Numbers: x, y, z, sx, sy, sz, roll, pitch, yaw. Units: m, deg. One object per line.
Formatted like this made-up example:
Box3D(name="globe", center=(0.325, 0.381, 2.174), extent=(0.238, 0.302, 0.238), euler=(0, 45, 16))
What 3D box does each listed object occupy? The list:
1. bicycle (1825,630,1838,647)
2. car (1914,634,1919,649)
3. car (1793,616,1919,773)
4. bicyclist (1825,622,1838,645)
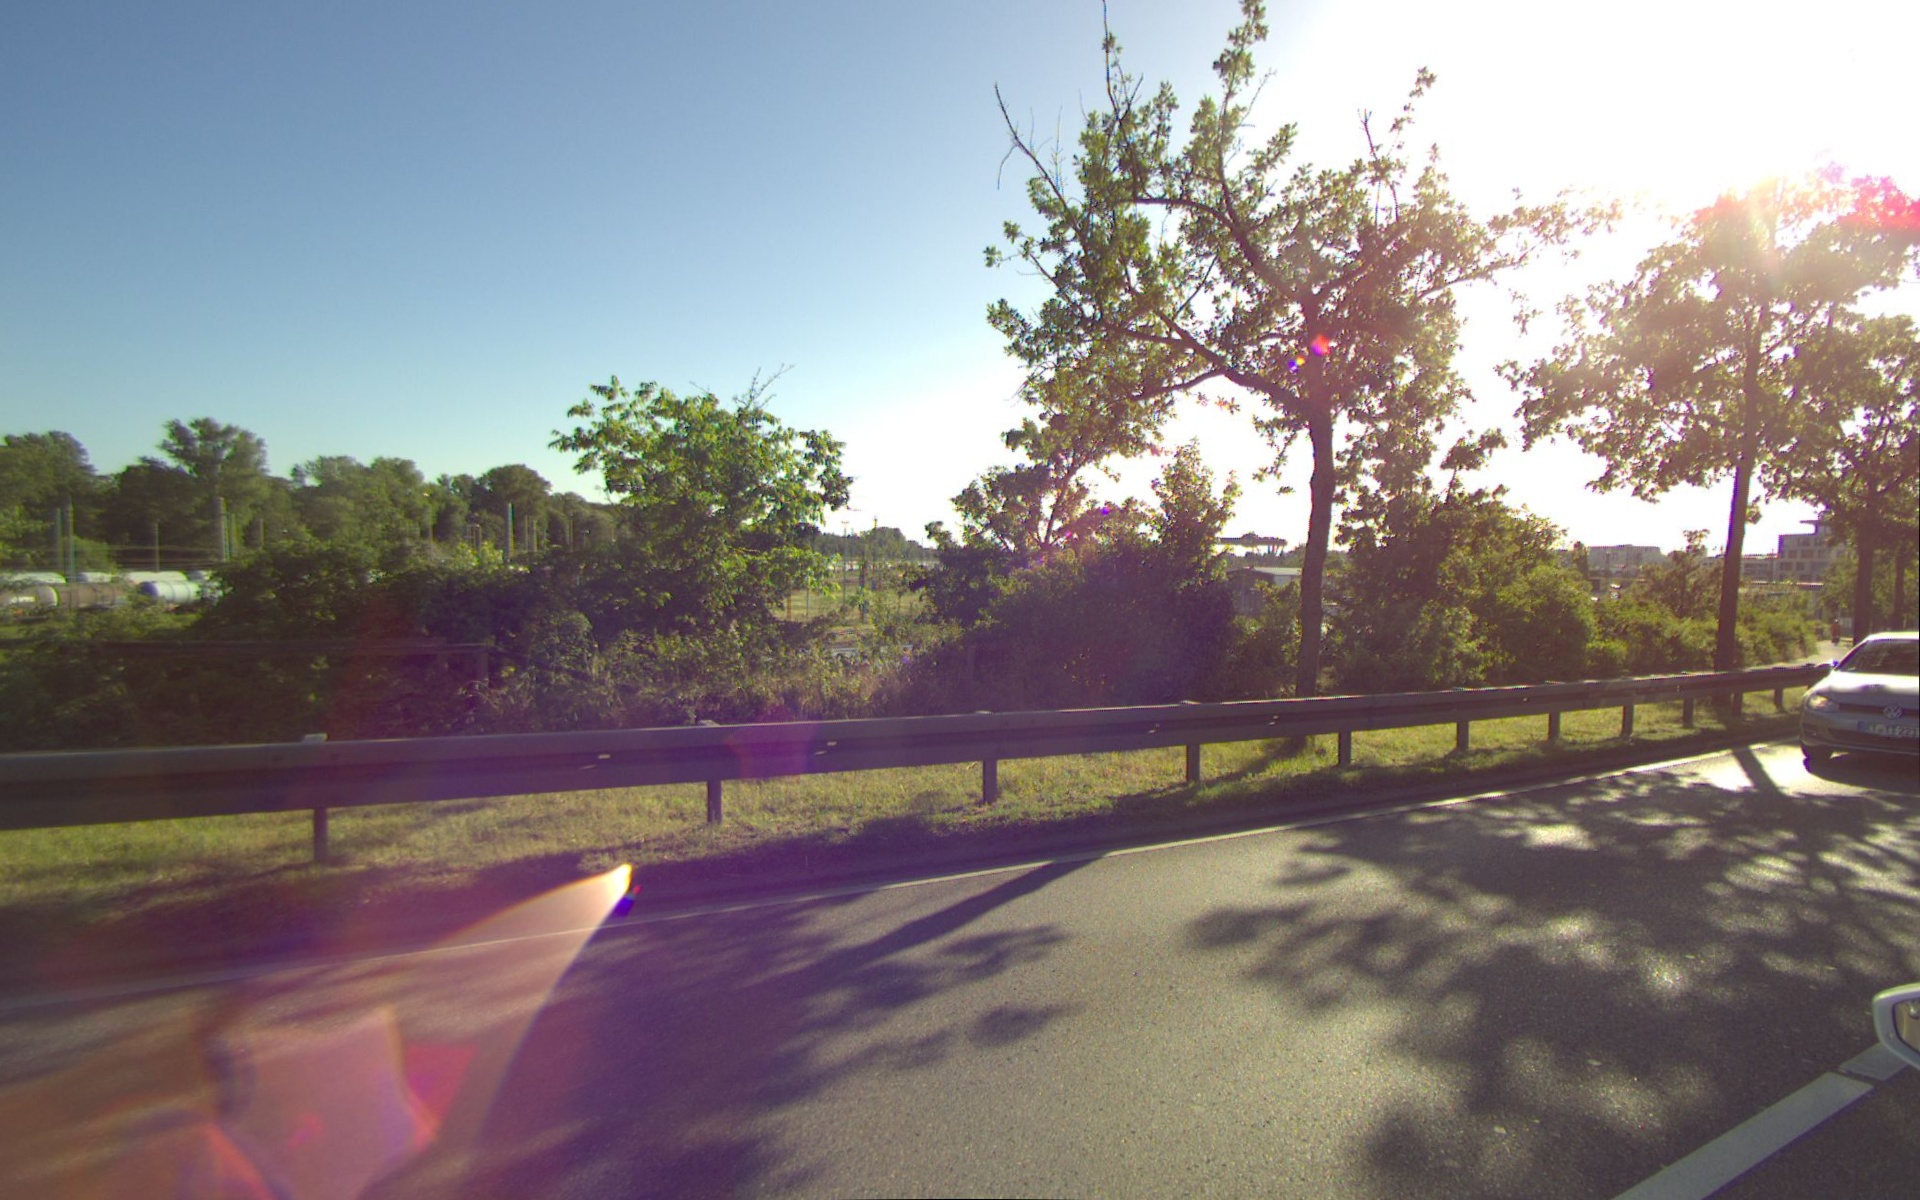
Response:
Box3D(name="bicycle", center=(62.415, 2.758, 71.944), extent=(0.653, 1.110, 2.097), euler=(2, 1, 41))
Box3D(name="car", center=(97.953, 4.239, 101.632), extent=(1.829, 1.511, 4.691), euler=(2, 0, 42))
Box3D(name="car", center=(11.171, 1.017, 11.455), extent=(3.944, 1.538, 1.683), euler=(2, 0, -37))
Box3D(name="bicyclist", center=(62.425, 2.399, 71.940), extent=(0.644, 1.645, 0.870), euler=(2, 1, 41))
